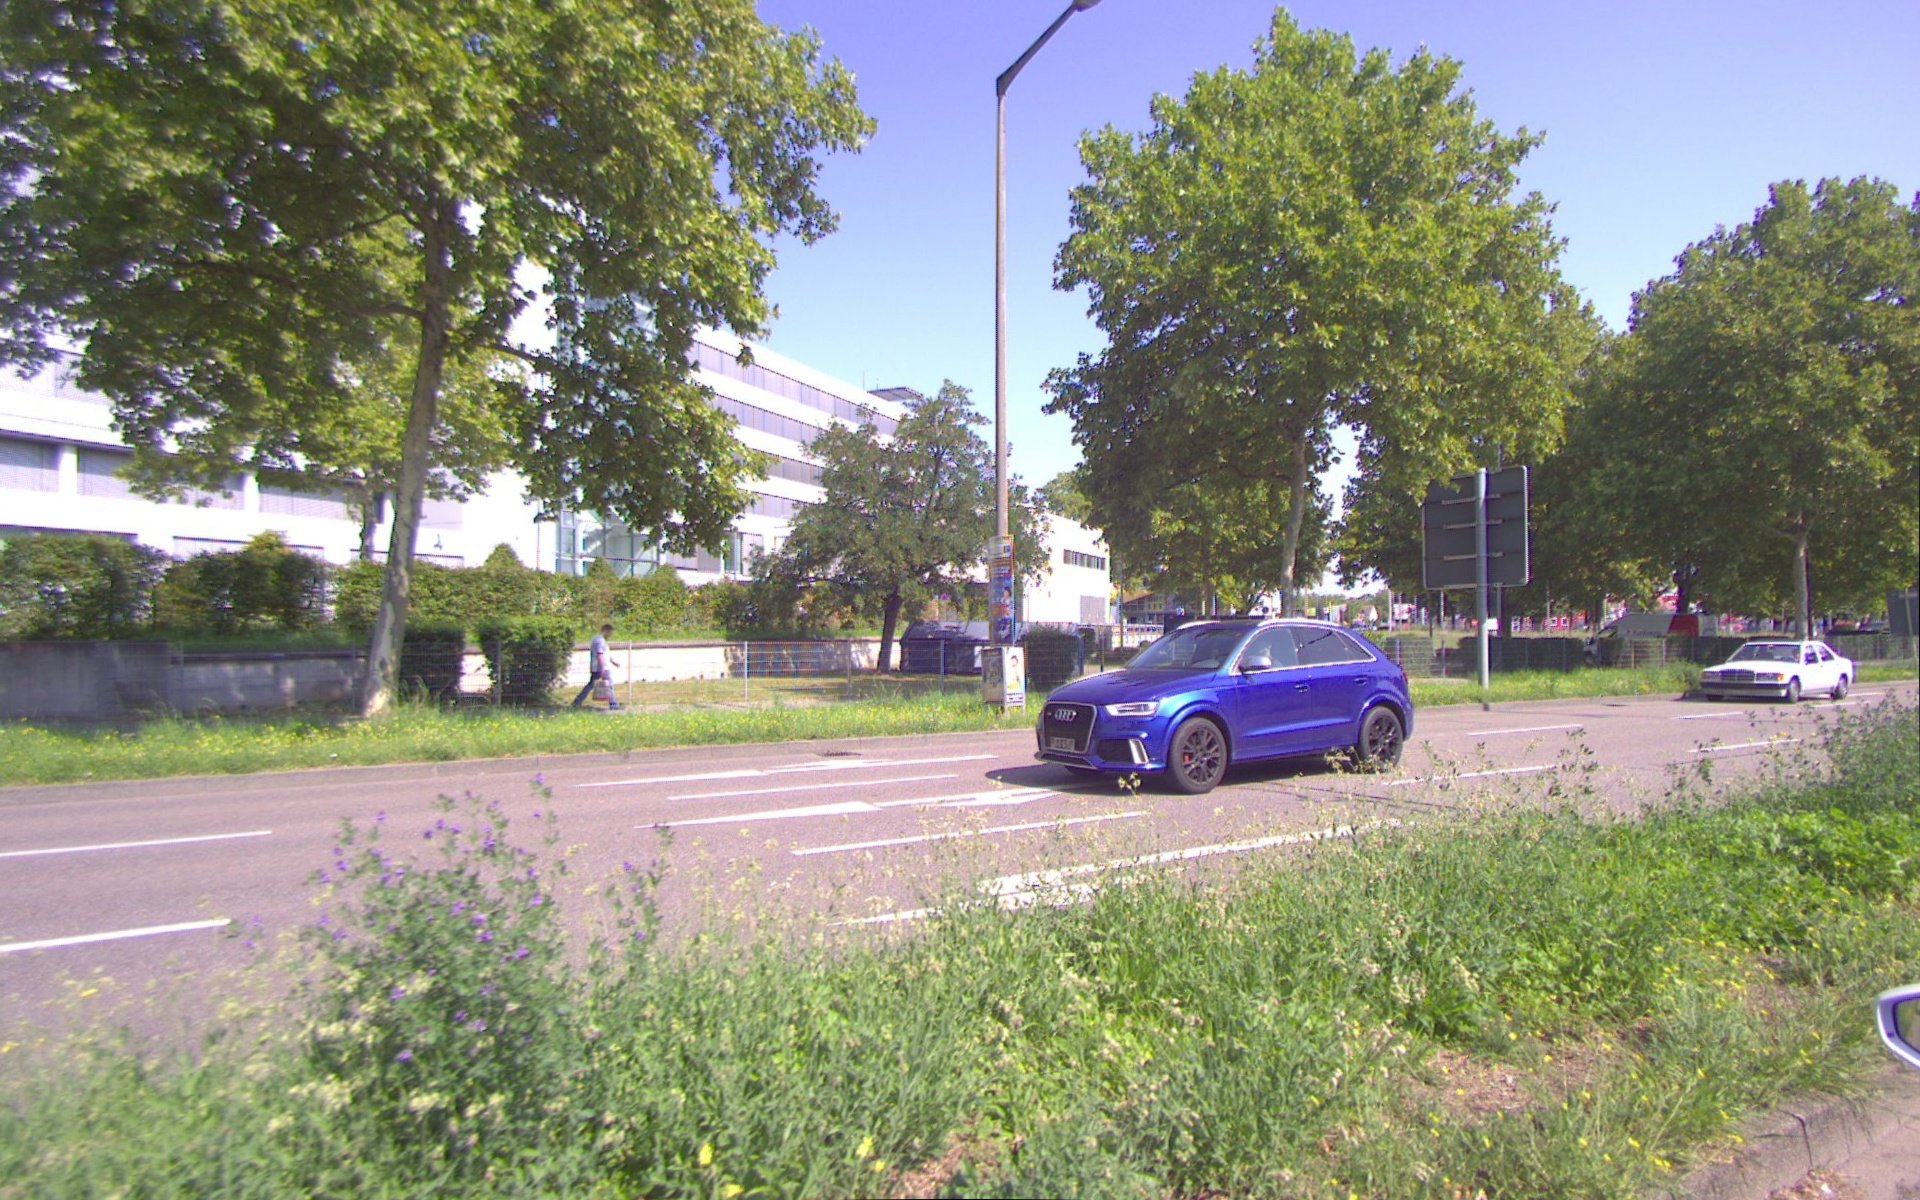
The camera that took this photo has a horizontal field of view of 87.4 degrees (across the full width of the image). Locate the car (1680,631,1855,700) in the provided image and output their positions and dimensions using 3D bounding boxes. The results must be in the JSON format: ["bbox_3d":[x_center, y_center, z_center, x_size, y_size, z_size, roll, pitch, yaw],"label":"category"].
[{"bbox_3d":[18.852,1.481,23.421,4.360,1.435,1.786,1,-3,-32],"label":"car"}]

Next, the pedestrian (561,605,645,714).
[{"bbox_3d":[-7.004,1.134,19.771,0.995,2.041,1.268,-1,1,12],"label":"pedestrian"}]

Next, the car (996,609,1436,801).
[{"bbox_3d":[2.696,0.952,10.384,4.297,1.606,1.984,1,-3,-31],"label":"car"}]

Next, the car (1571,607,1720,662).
[{"bbox_3d":[33.199,1.617,48.831,2.252,2.369,5.555,-2,2,-31],"label":"car"}]

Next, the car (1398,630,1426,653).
[{"bbox_3d":[34.070,3.082,75.718,1.895,1.472,3.996,-1,1,24],"label":"car"}]
